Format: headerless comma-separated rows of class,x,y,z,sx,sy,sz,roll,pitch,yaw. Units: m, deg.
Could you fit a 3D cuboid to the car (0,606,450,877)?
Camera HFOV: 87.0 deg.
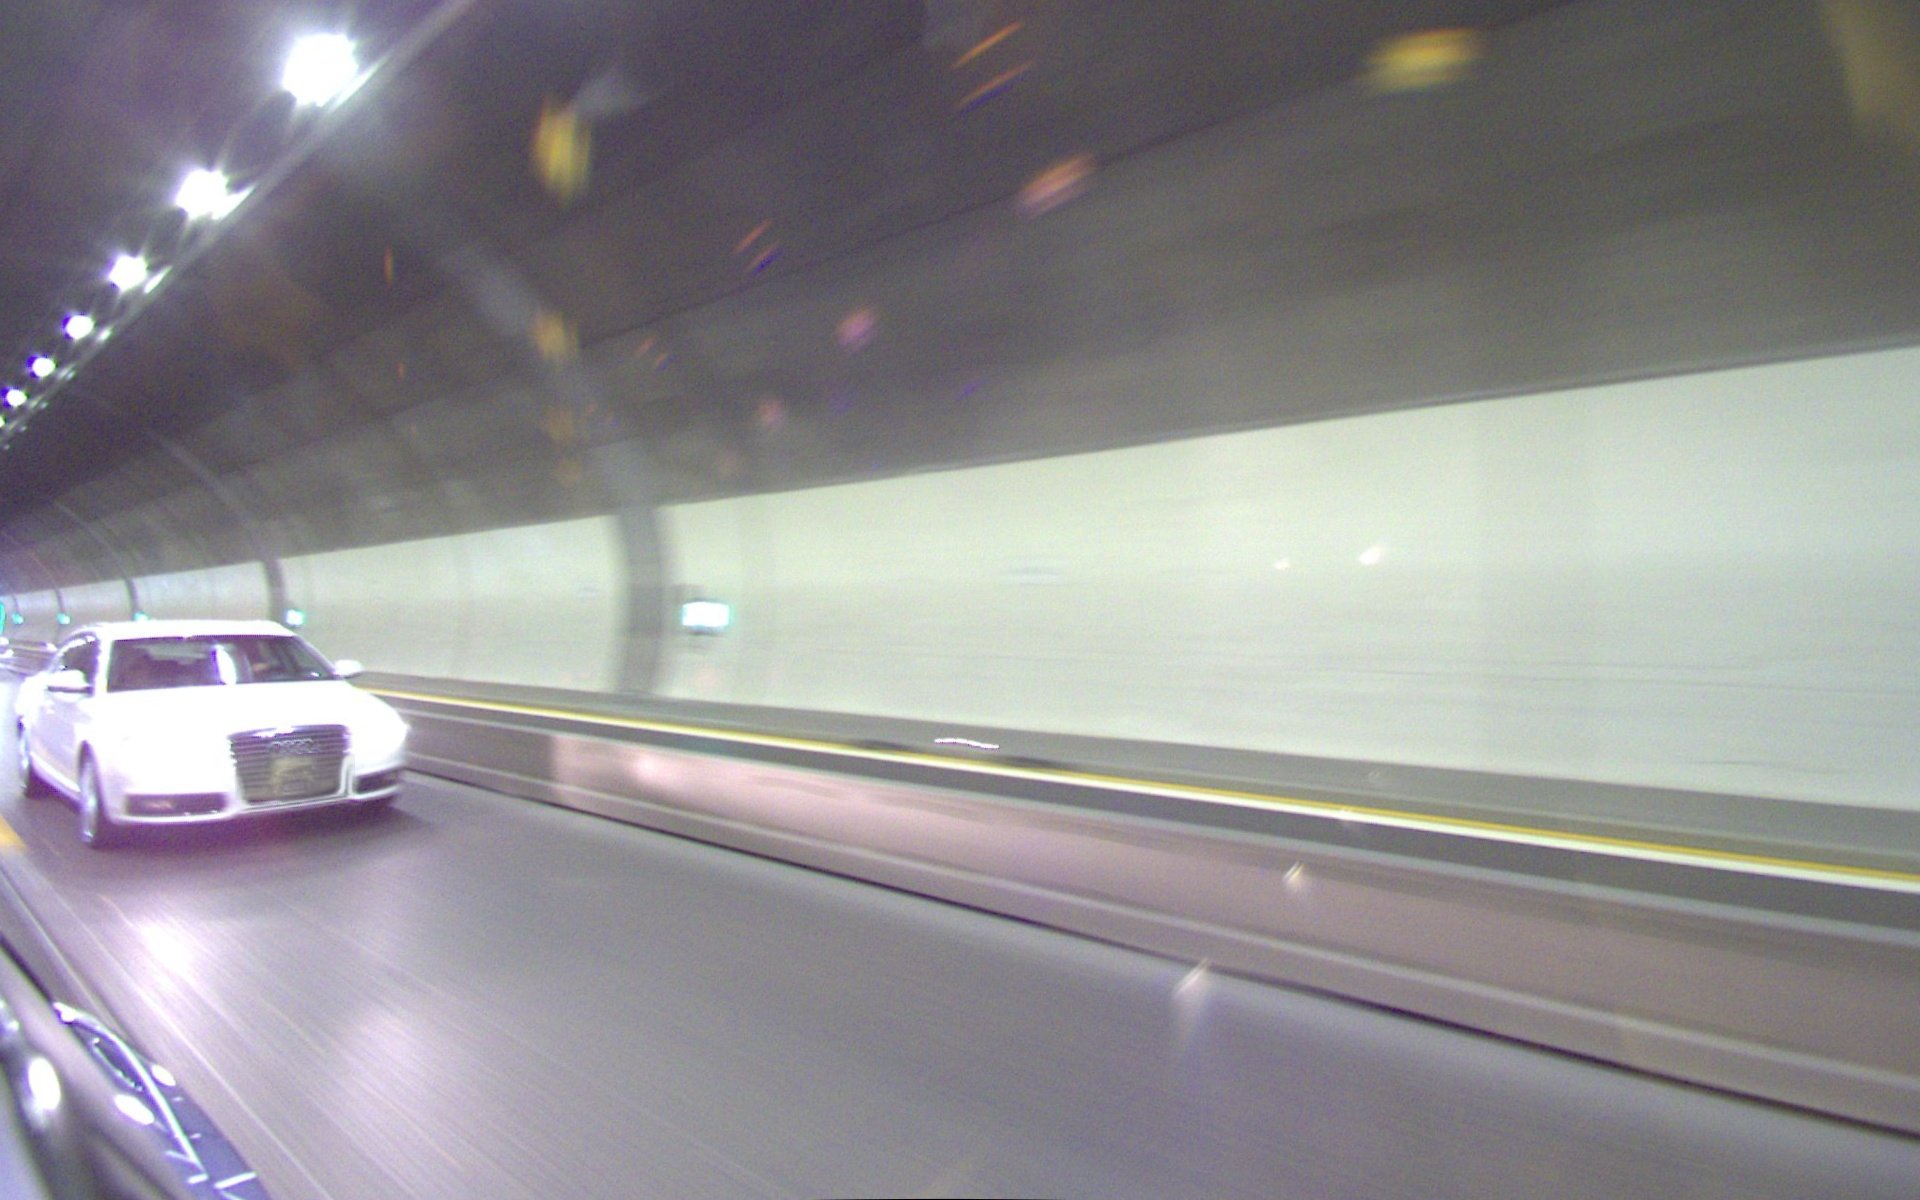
car,-6.031,0.853,7.949,4.940,1.496,1.884,-2,-2,41
